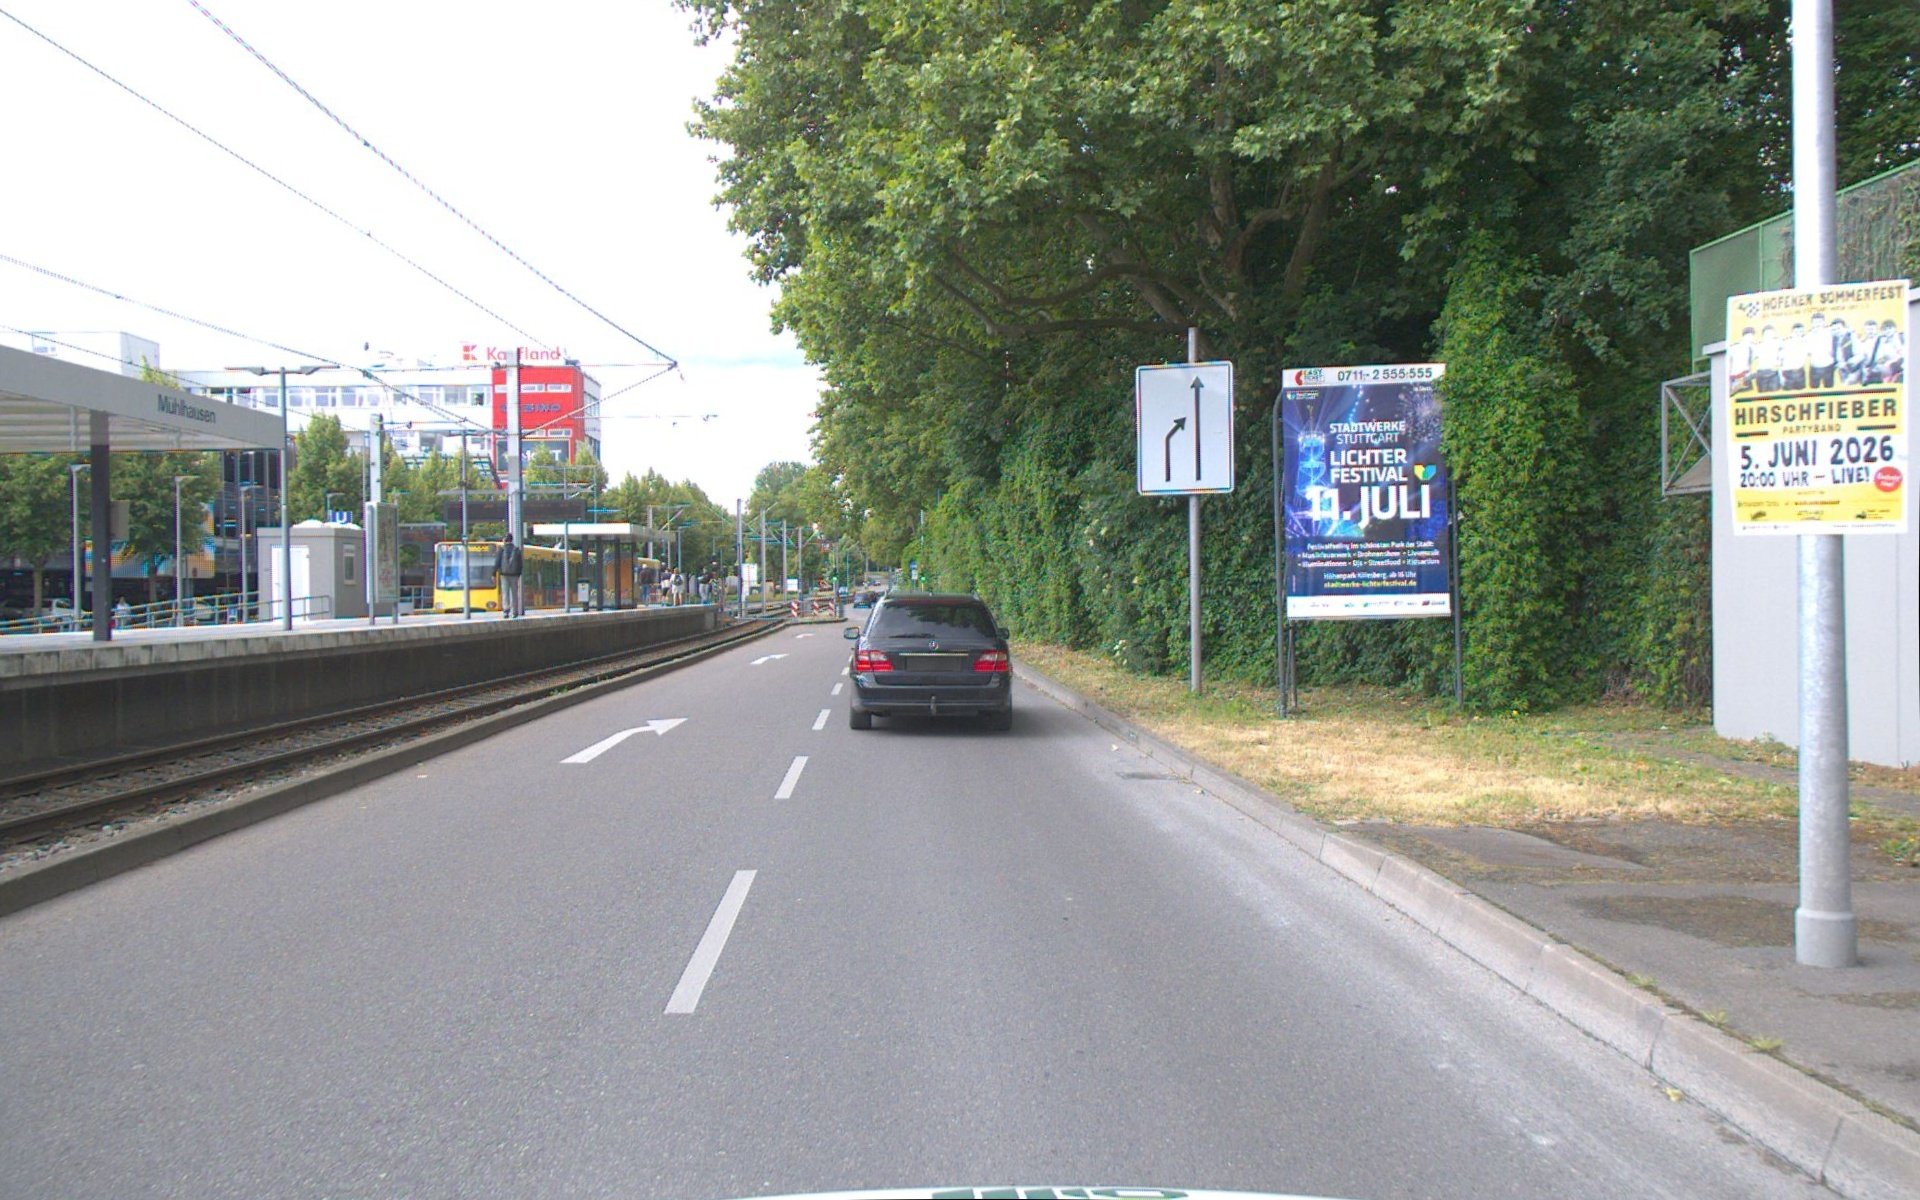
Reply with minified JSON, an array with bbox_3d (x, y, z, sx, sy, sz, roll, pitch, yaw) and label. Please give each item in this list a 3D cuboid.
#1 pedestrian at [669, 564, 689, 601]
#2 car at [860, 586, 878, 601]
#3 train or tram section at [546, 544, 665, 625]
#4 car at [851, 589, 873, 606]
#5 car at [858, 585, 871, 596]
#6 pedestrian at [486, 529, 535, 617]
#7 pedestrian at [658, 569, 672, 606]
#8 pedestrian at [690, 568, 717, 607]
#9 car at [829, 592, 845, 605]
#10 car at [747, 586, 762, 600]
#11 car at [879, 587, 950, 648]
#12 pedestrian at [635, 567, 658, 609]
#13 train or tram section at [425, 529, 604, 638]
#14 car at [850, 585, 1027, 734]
[{"bbox_3d":[-11.528,-0.723,67.939,0.510,1.508,0.580,-2,0,35],"label":"pedestrian"},{"bbox_3d":[-9.735,-0.688,177.361,1.788,1.556,3.927,0,0,-1],"label":"car"},{"bbox_3d":[-18.756,-0.719,89.177,2.700,3.896,18.626,-1,0,-1],"label":"train or tram section"},{"bbox_3d":[-9.090,-0.268,153.587,1.788,1.556,4.415,-1,0,-1],"label":"car"},{"bbox_3d":[-14.239,-1.410,245.822,1.788,1.556,3.985,0,0,-1],"label":"car"},{"bbox_3d":[-9.338,-0.561,34.375,0.734,1.774,0.936,-2,0,-3],"label":"pedestrian"},{"bbox_3d":[-12.278,-0.519,68.862,0.465,1.509,0.542,-2,0,0],"label":"pedestrian"},{"bbox_3d":[-11.545,-0.576,74.444,0.732,1.707,0.871,-2,0,41],"label":"pedestrian"},{"bbox_3d":[-14.969,-0.223,201.349,1.788,1.556,3.927,0,0,-1],"label":"car"},{"bbox_3d":[-31.720,-1.010,255.626,1.954,2.049,3.997,-2,0,-3],"label":"car"},{"bbox_3d":[-1.267,0.437,44.546,1.789,1.556,4.413,0,0,-3],"label":"car"},{"bbox_3d":[-12.839,-0.494,67.830,0.756,1.707,0.790,-2,0,-3],"label":"pedestrian"},{"bbox_3d":[-18.480,-0.665,70.537,2.700,3.950,18.629,-2,0,-1],"label":"train or tram section"},{"bbox_3d":[-0.329,0.587,19.067,1.797,1.504,4.413,0,1,-3],"label":"car"}]
